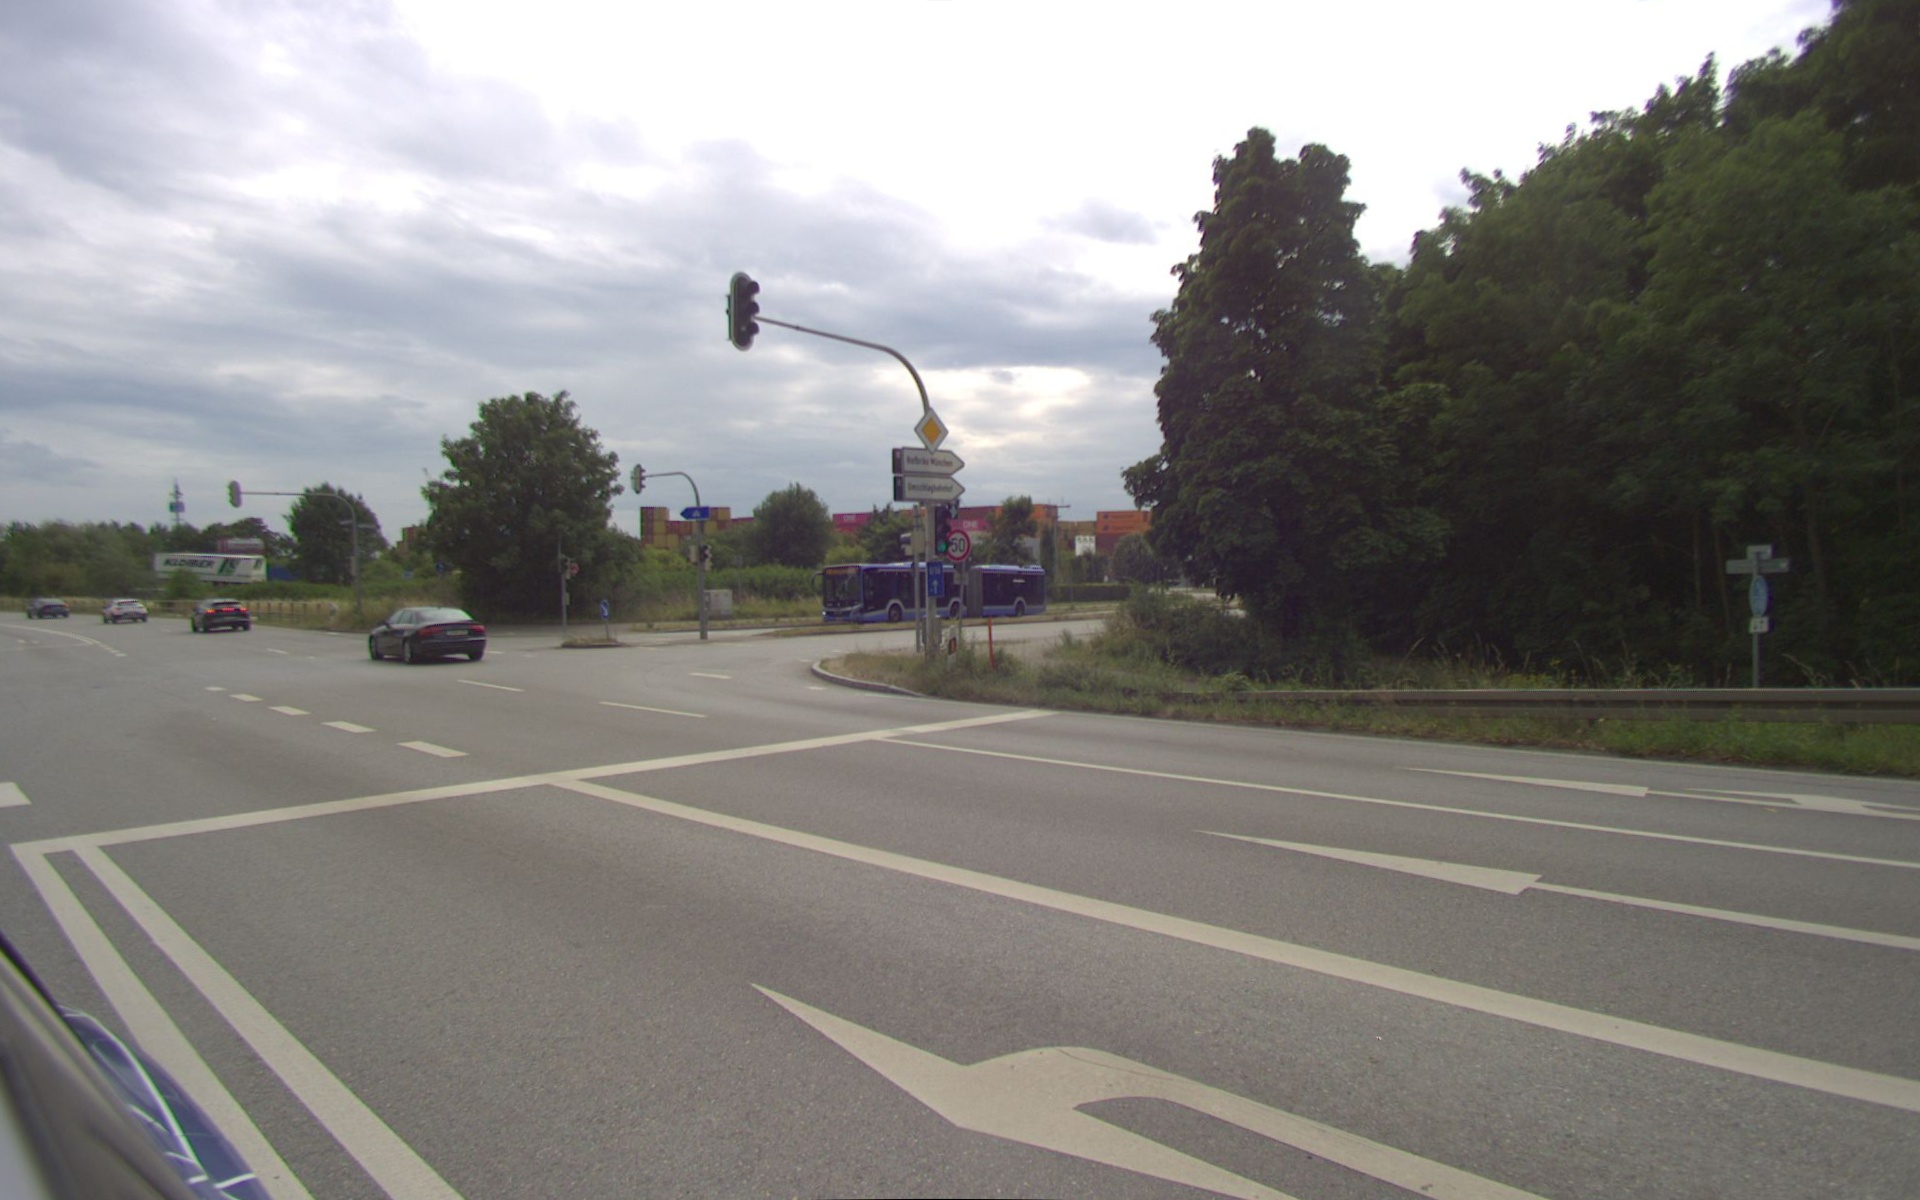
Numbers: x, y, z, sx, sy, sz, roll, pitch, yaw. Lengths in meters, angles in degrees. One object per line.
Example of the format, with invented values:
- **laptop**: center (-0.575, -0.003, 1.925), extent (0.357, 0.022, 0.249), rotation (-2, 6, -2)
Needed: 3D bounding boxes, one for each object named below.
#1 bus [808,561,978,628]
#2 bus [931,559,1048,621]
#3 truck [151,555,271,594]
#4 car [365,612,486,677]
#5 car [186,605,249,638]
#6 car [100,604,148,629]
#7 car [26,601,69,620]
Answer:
- **bus**: center (-3.119, -0.314, 51.266), extent (3.114, 3.069, 9.957), rotation (-1, 0, 34)
- **bus**: center (1.837, -0.586, 58.618), extent (3.114, 3.372, 7.735), rotation (-1, 0, 34)
- **truck**: center (-97.755, -3.305, 132.122), extent (14.037, 4.358, 3.357), rotation (2, 1, 6)
- **car**: center (-13.907, 1.076, 26.217), extent (1.719, 1.497, 4.204), rotation (-1, 0, -43)
- **car**: center (-35.096, 1.002, 47.795), extent (4.002, 1.395, 1.720), rotation (0, 3, 45)
- **car**: center (-53.481, 1.038, 64.730), extent (3.999, 1.497, 1.722), rotation (0, 3, 42)
- **car**: center (-71.457, 0.807, 79.240), extent (3.992, 1.395, 1.725), rotation (0, 3, 36)
